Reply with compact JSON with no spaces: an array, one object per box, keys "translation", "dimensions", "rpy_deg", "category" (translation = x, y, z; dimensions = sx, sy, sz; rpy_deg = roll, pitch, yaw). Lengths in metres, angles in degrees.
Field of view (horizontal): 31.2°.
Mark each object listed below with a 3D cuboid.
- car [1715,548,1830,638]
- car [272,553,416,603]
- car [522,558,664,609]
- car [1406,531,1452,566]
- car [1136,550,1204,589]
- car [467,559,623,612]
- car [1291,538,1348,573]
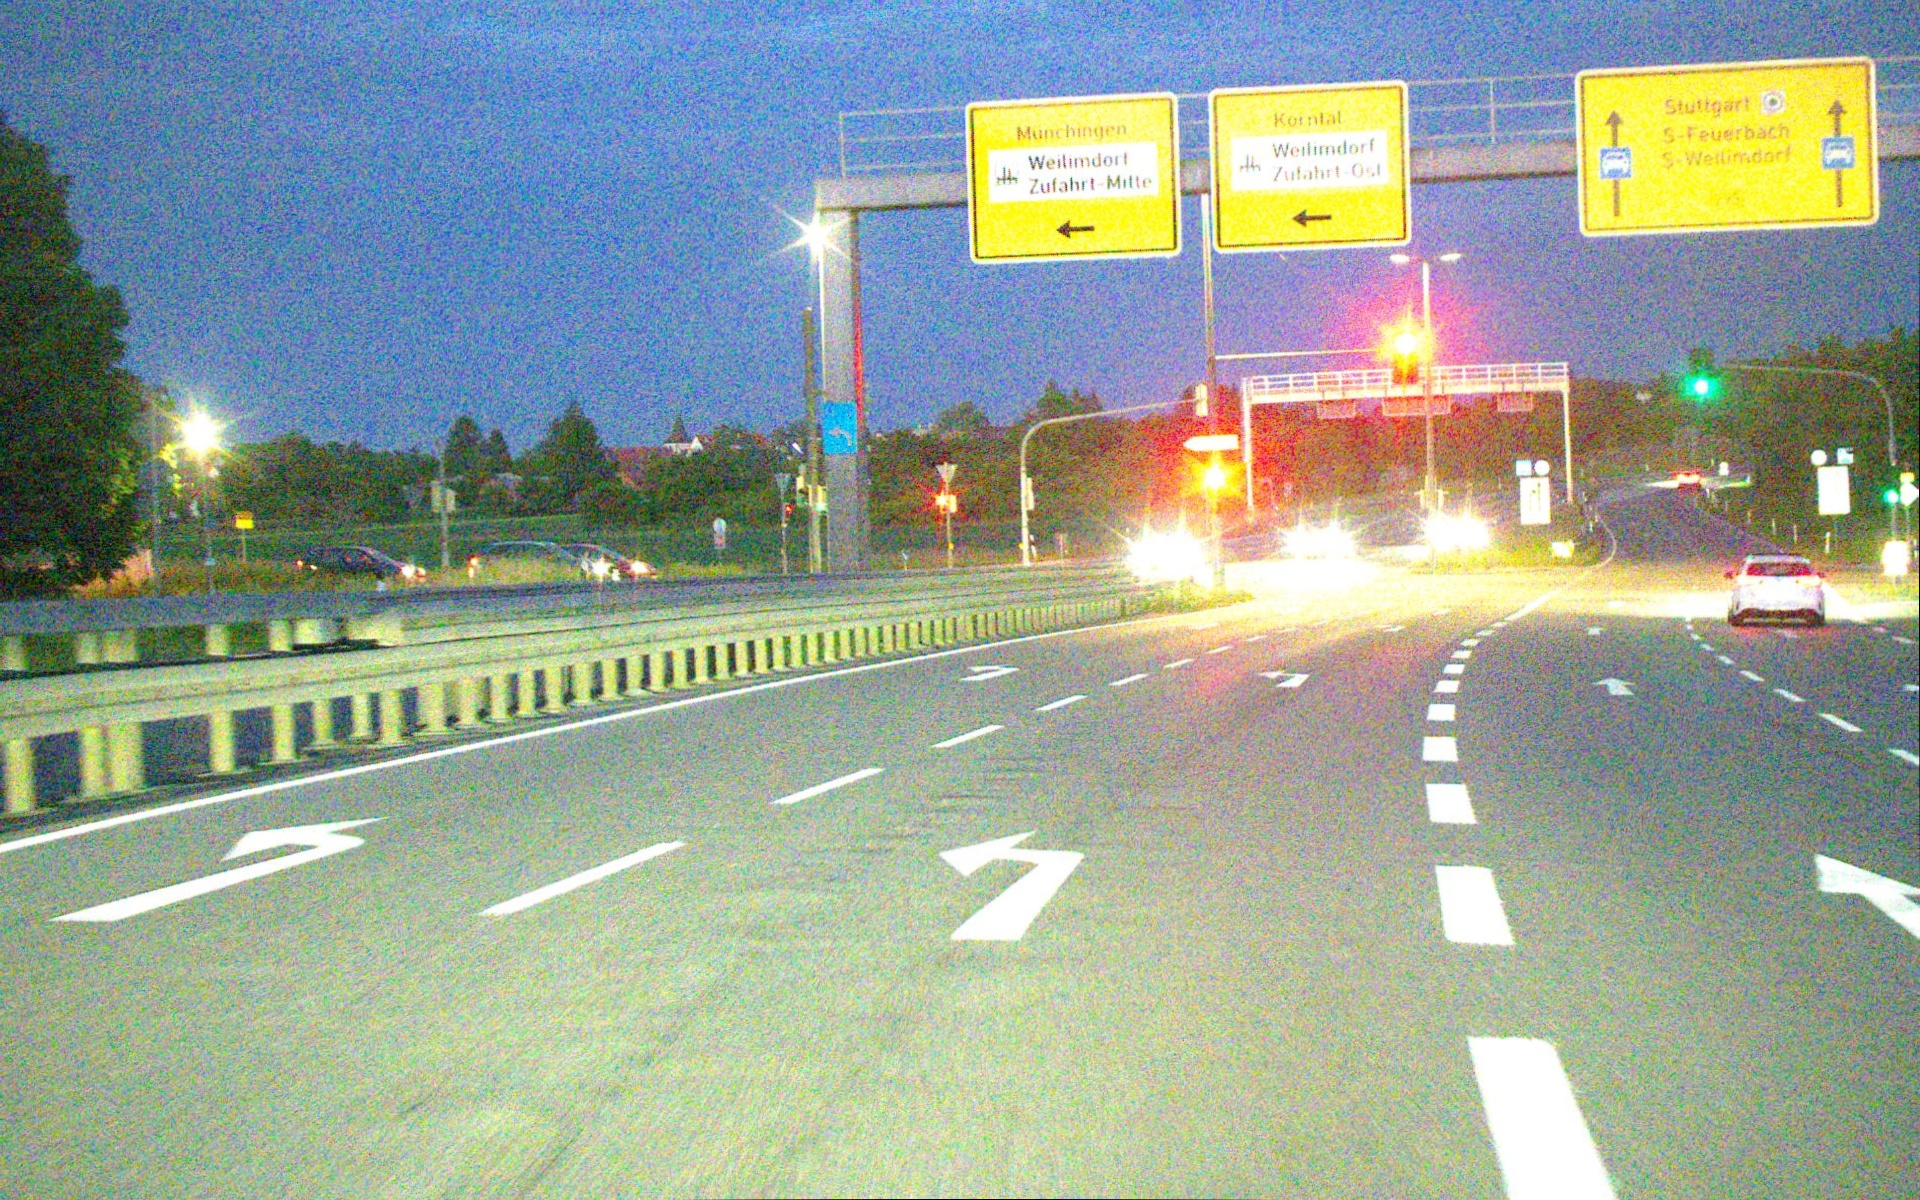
[{"translation":[16.206,-0.163,68.454],"dimensions":[2.009,1.605,3.842],"rpy_deg":[4,2,15],"category":"car"},{"translation":[-18.813,-0.682,105.120],"dimensions":[3.988,1.468,1.729],"rpy_deg":[0,0,7],"category":"car"},{"translation":[-11.386,-0.522,106.772],"dimensions":[4.042,1.532,1.729],"rpy_deg":[0,0,10],"category":"car"},{"translation":[23.090,-2.562,169.221],"dimensions":[1.994,1.692,3.998],"rpy_deg":[0,1,12],"category":"car"},{"translation":[8.044,-1.176,131.358],"dimensions":[1.994,1.421,4.530],"rpy_deg":[0,1,12],"category":"car"},{"translation":[-12.447,-0.432,103.165],"dimensions":[4.315,1.532,1.728],"rpy_deg":[0,0,11],"category":"car"},{"translation":[15.483,-1.934,147.989],"dimensions":[1.994,1.477,4.680],"rpy_deg":[0,1,11],"category":"car"}]
